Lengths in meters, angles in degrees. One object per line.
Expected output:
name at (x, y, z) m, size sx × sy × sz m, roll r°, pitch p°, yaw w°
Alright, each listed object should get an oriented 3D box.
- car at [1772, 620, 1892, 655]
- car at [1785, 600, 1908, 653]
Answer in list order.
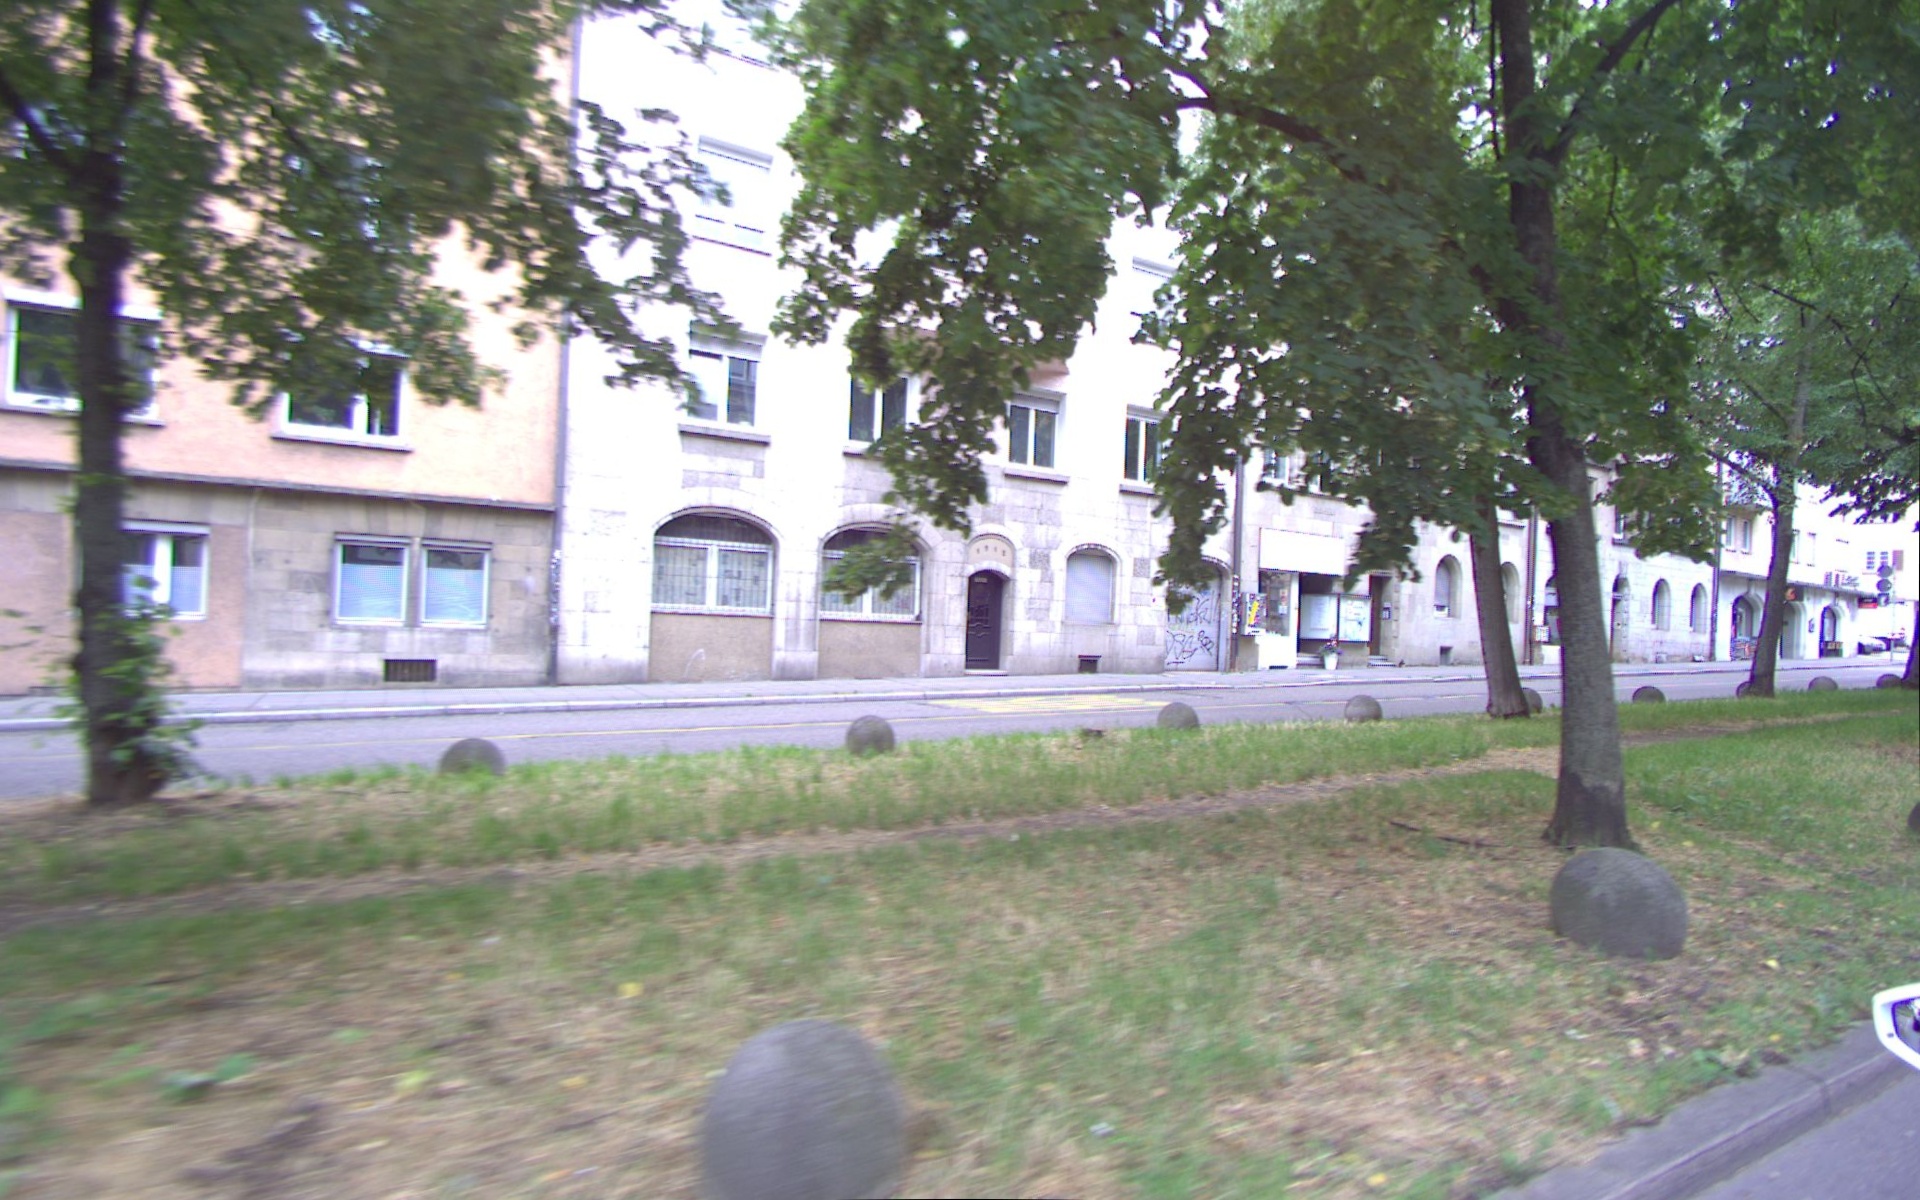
car at (45.228, 1.928, 52.164) m, size 2.025 × 1.439 × 4.264 m, roll 1°, pitch 3°, yaw -32°
car at (51.483, 1.519, 58.410) m, size 2.161 × 2.773 × 5.125 m, roll 2°, pitch 1°, yaw -42°
